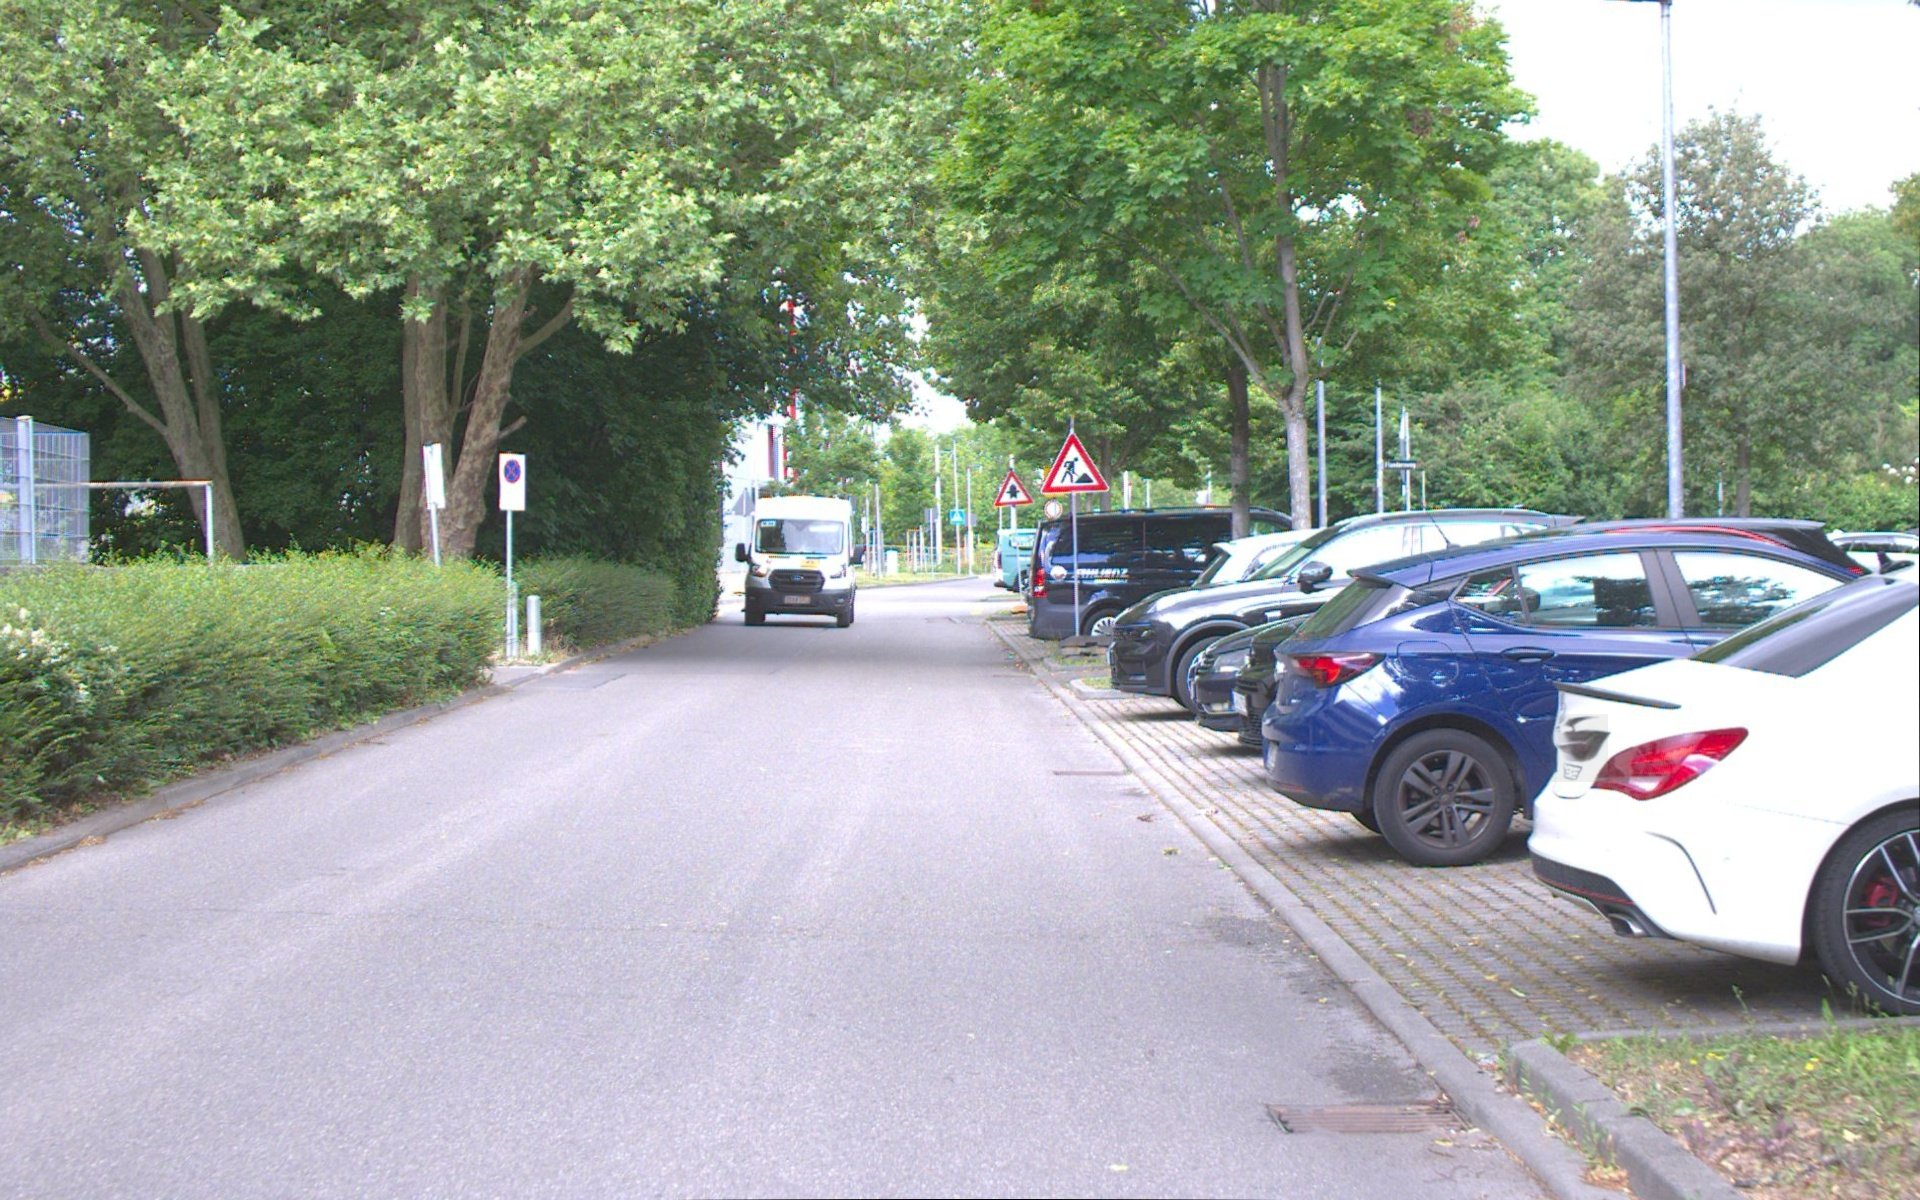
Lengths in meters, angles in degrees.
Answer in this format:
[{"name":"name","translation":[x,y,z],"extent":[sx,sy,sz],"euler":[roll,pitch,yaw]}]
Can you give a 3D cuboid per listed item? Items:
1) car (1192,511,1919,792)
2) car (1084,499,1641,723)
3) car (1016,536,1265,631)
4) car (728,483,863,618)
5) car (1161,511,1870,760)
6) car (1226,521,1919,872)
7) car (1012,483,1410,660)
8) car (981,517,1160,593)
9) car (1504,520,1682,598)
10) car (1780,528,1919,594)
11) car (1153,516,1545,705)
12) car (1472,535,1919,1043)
[{"name":"car","translation":[3.615,0.291,21.328],"extent":[4.072,1.512,1.851],"euler":[-2,1,-4]},{"name":"car","translation":[3.348,0.066,29.262],"extent":[4.415,1.670,2.082],"euler":[-2,1,-1]},{"name":"car","translation":[2.985,-0.277,57.503],"extent":[3.987,1.425,1.936],"euler":[-2,0,-1]},{"name":"car","translation":[-3.126,-0.968,66.487],"extent":[2.132,2.467,6.277],"euler":[1,1,1]},{"name":"car","translation":[3.800,0.216,24.172],"extent":[4.636,1.512,1.982],"euler":[-2,1,1]},{"name":"car","translation":[3.384,0.399,16.212],"extent":[4.072,1.451,1.851],"euler":[-2,1,0]},{"name":"car","translation":[3.206,-0.378,44.771],"extent":[4.954,2.007,2.166],"euler":[-3,1,1]},{"name":"car","translation":[3.130,-1.285,98.071],"extent":[4.972,1.965,1.847],"euler":[-2,1,1]},{"name":"car","translation":[14.156,-0.911,77.017],"extent":[3.780,1.662,1.767],"euler":[-1,1,7]},{"name":"car","translation":[20.579,-0.882,76.394],"extent":[4.393,1.423,1.703],"euler":[-1,0,5]},{"name":"car","translation":[3.565,0.073,31.947],"extent":[3.379,1.569,1.796],"euler":[-2,1,0]},{"name":"car","translation":[4.057,0.485,11.065],"extent":[4.485,1.449,1.846],"euler":[-2,1,0]}]
